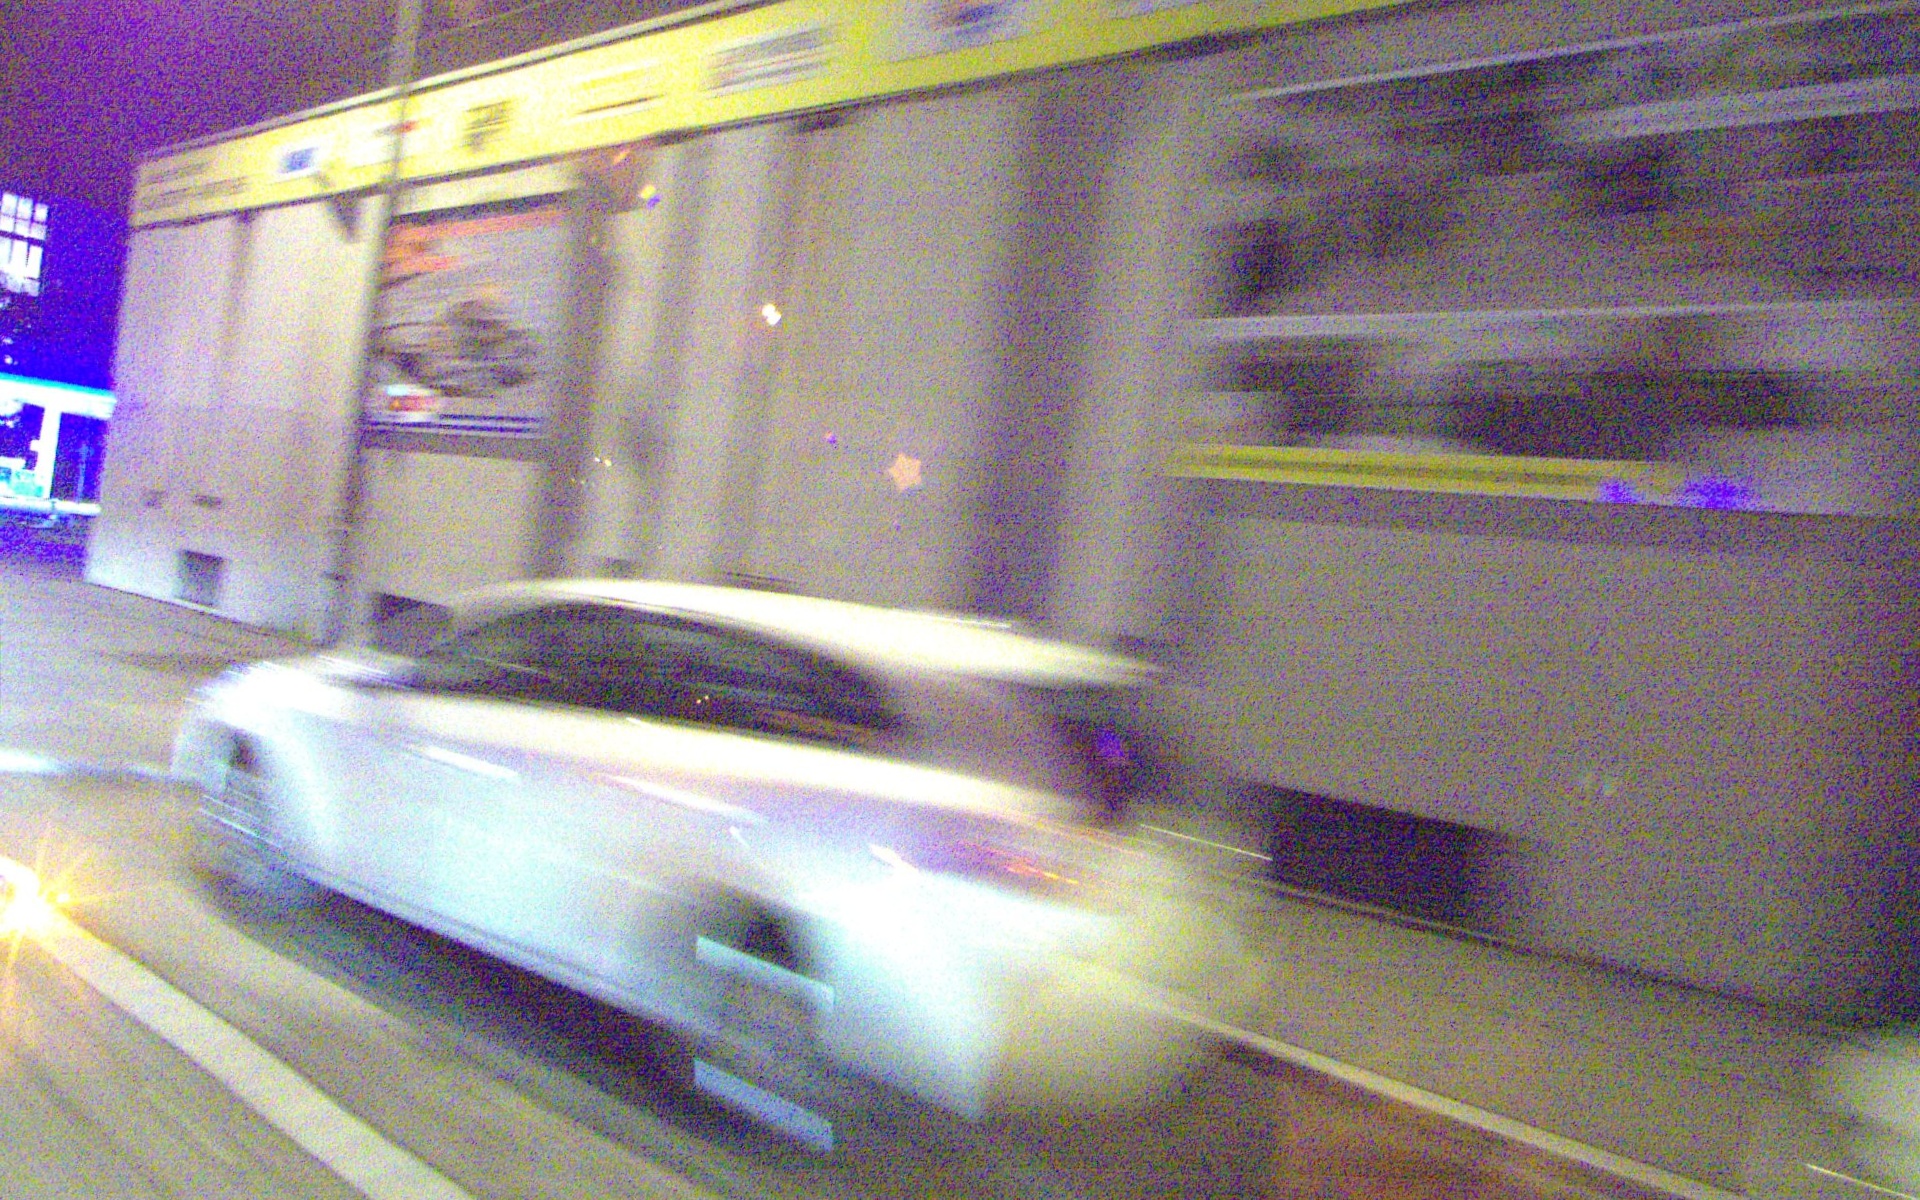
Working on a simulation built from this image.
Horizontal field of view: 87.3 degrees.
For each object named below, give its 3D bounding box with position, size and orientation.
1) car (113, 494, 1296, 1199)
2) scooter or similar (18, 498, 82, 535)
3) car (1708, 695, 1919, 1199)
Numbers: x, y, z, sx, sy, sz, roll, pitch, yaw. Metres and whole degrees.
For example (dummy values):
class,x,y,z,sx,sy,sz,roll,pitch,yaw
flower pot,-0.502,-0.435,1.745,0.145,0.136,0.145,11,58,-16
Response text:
class,x,y,z,sx,sy,sz,roll,pitch,yaw
car,-1.196,0.596,4.077,4.468,1.506,1.864,7,-1,29
scooter or similar,-32.025,-2.923,35.434,0.704,1.105,1.678,8,0,-6
car,3.676,1.192,0.923,4.468,1.562,1.779,7,-1,28
